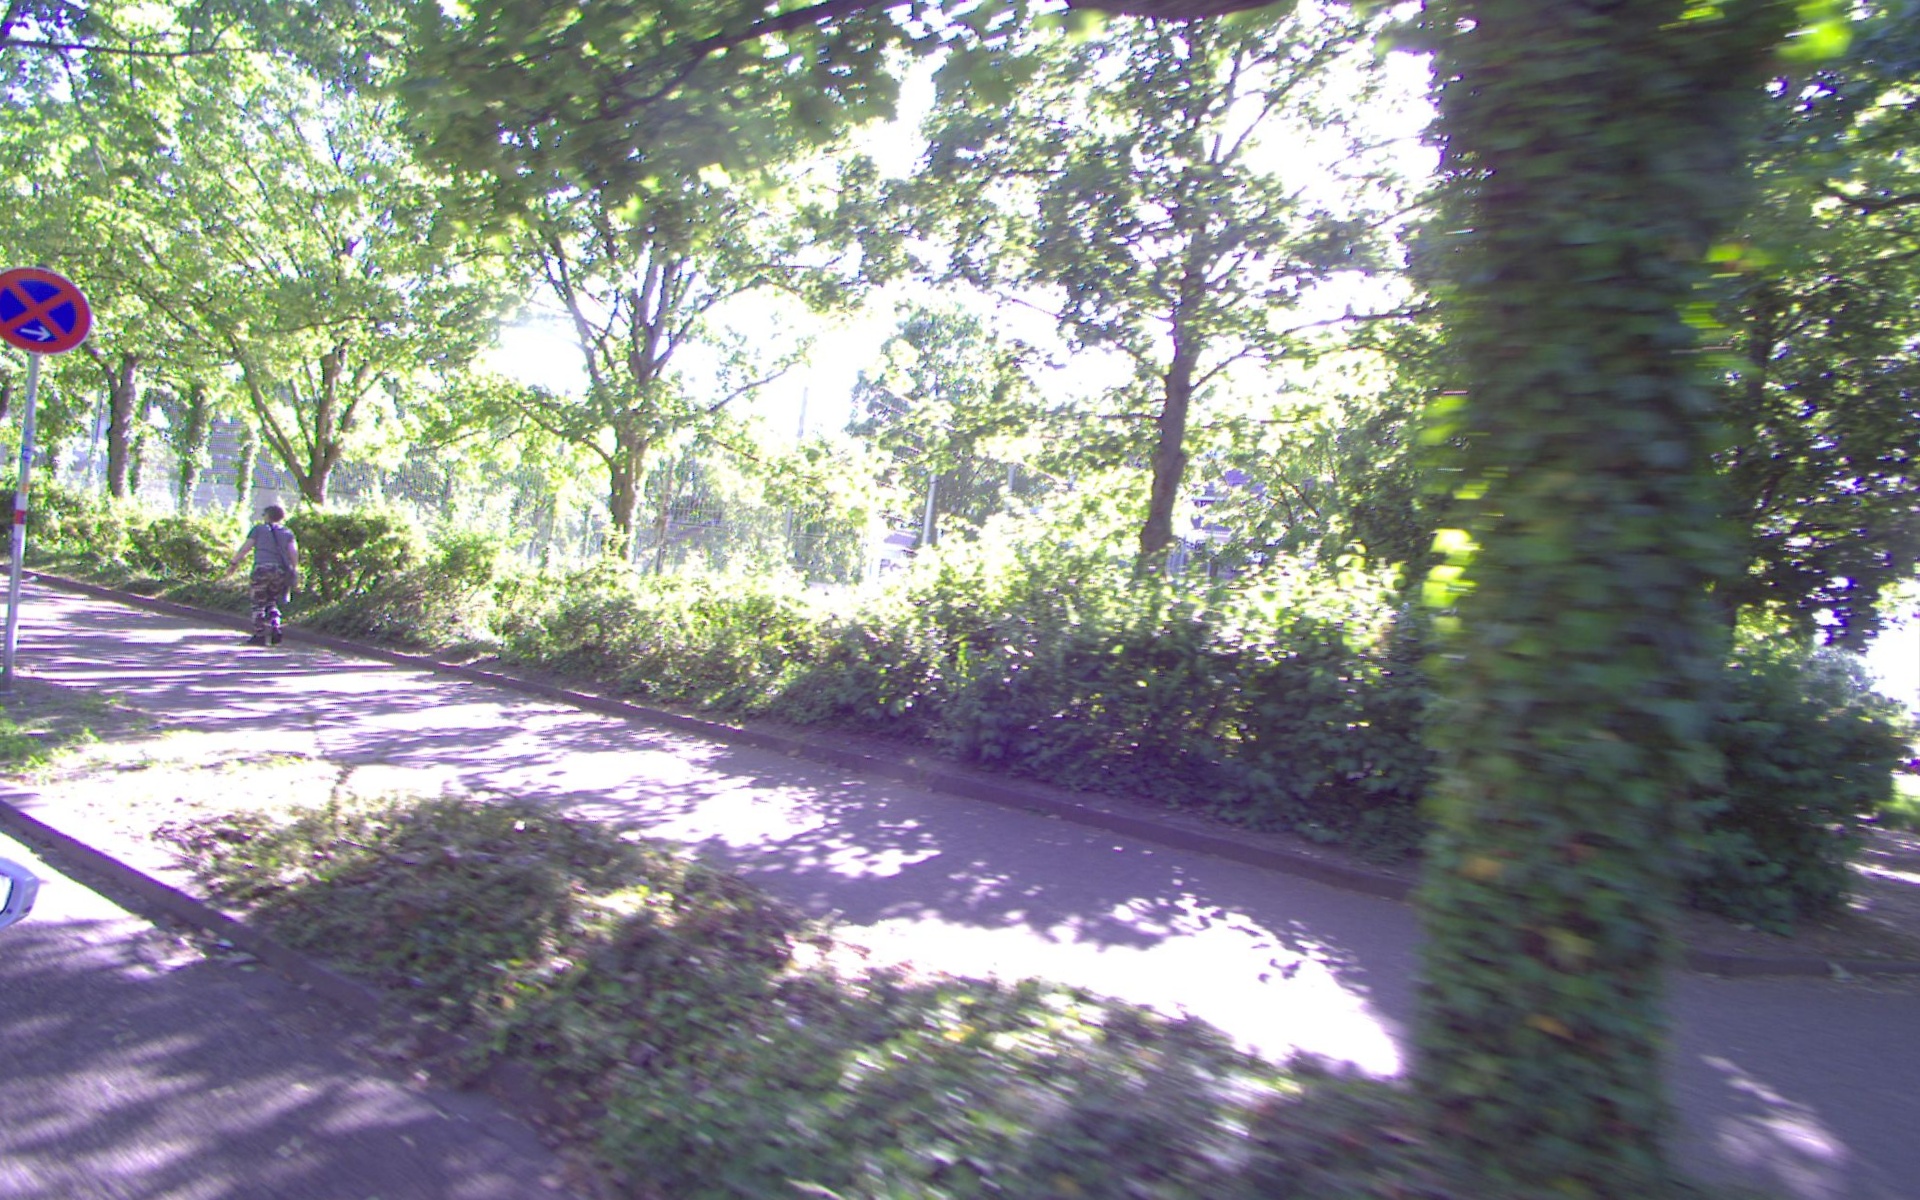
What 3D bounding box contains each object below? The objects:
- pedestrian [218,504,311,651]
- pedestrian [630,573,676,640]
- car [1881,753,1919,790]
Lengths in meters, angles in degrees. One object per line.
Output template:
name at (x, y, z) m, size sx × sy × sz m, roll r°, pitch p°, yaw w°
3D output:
pedestrian at (-8.215, -0.269, 11.884) m, size 0.661 × 1.627 × 0.571 m, roll 7°, pitch -1°, yaw 39°
pedestrian at (-6.267, 0.131, 20.526) m, size 0.558 × 1.253 × 0.539 m, roll 10°, pitch -3°, yaw -40°
car at (50.471, 9.073, 51.870) m, size 3.934 × 1.641 × 1.999 m, roll 6°, pitch -3°, yaw 32°
